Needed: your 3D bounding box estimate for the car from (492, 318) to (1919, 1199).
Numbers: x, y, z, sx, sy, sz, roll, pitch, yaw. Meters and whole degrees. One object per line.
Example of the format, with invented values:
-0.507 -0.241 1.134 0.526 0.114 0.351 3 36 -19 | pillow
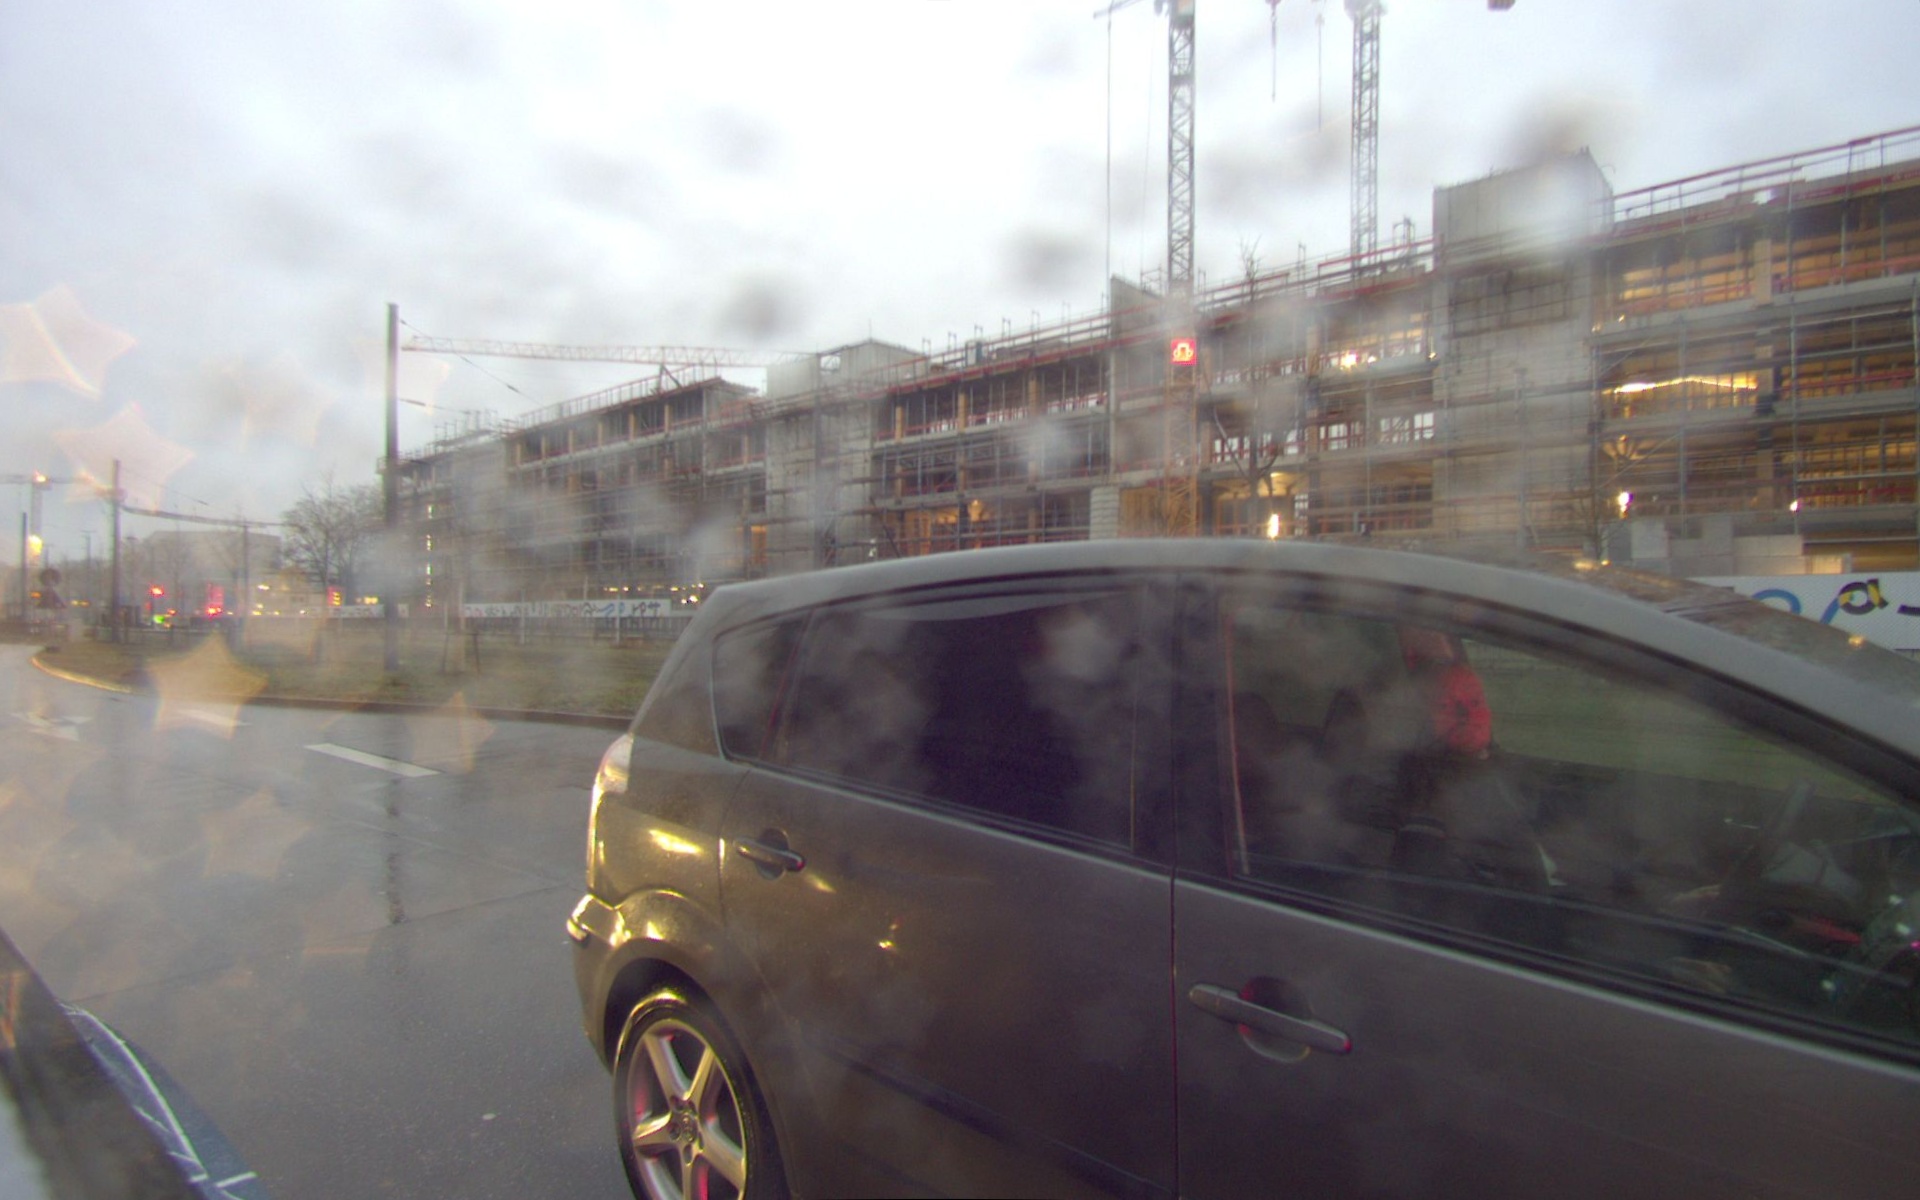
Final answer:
0.995 0.595 1.899 4.131 1.659 1.793 -1 -1 39 | car
